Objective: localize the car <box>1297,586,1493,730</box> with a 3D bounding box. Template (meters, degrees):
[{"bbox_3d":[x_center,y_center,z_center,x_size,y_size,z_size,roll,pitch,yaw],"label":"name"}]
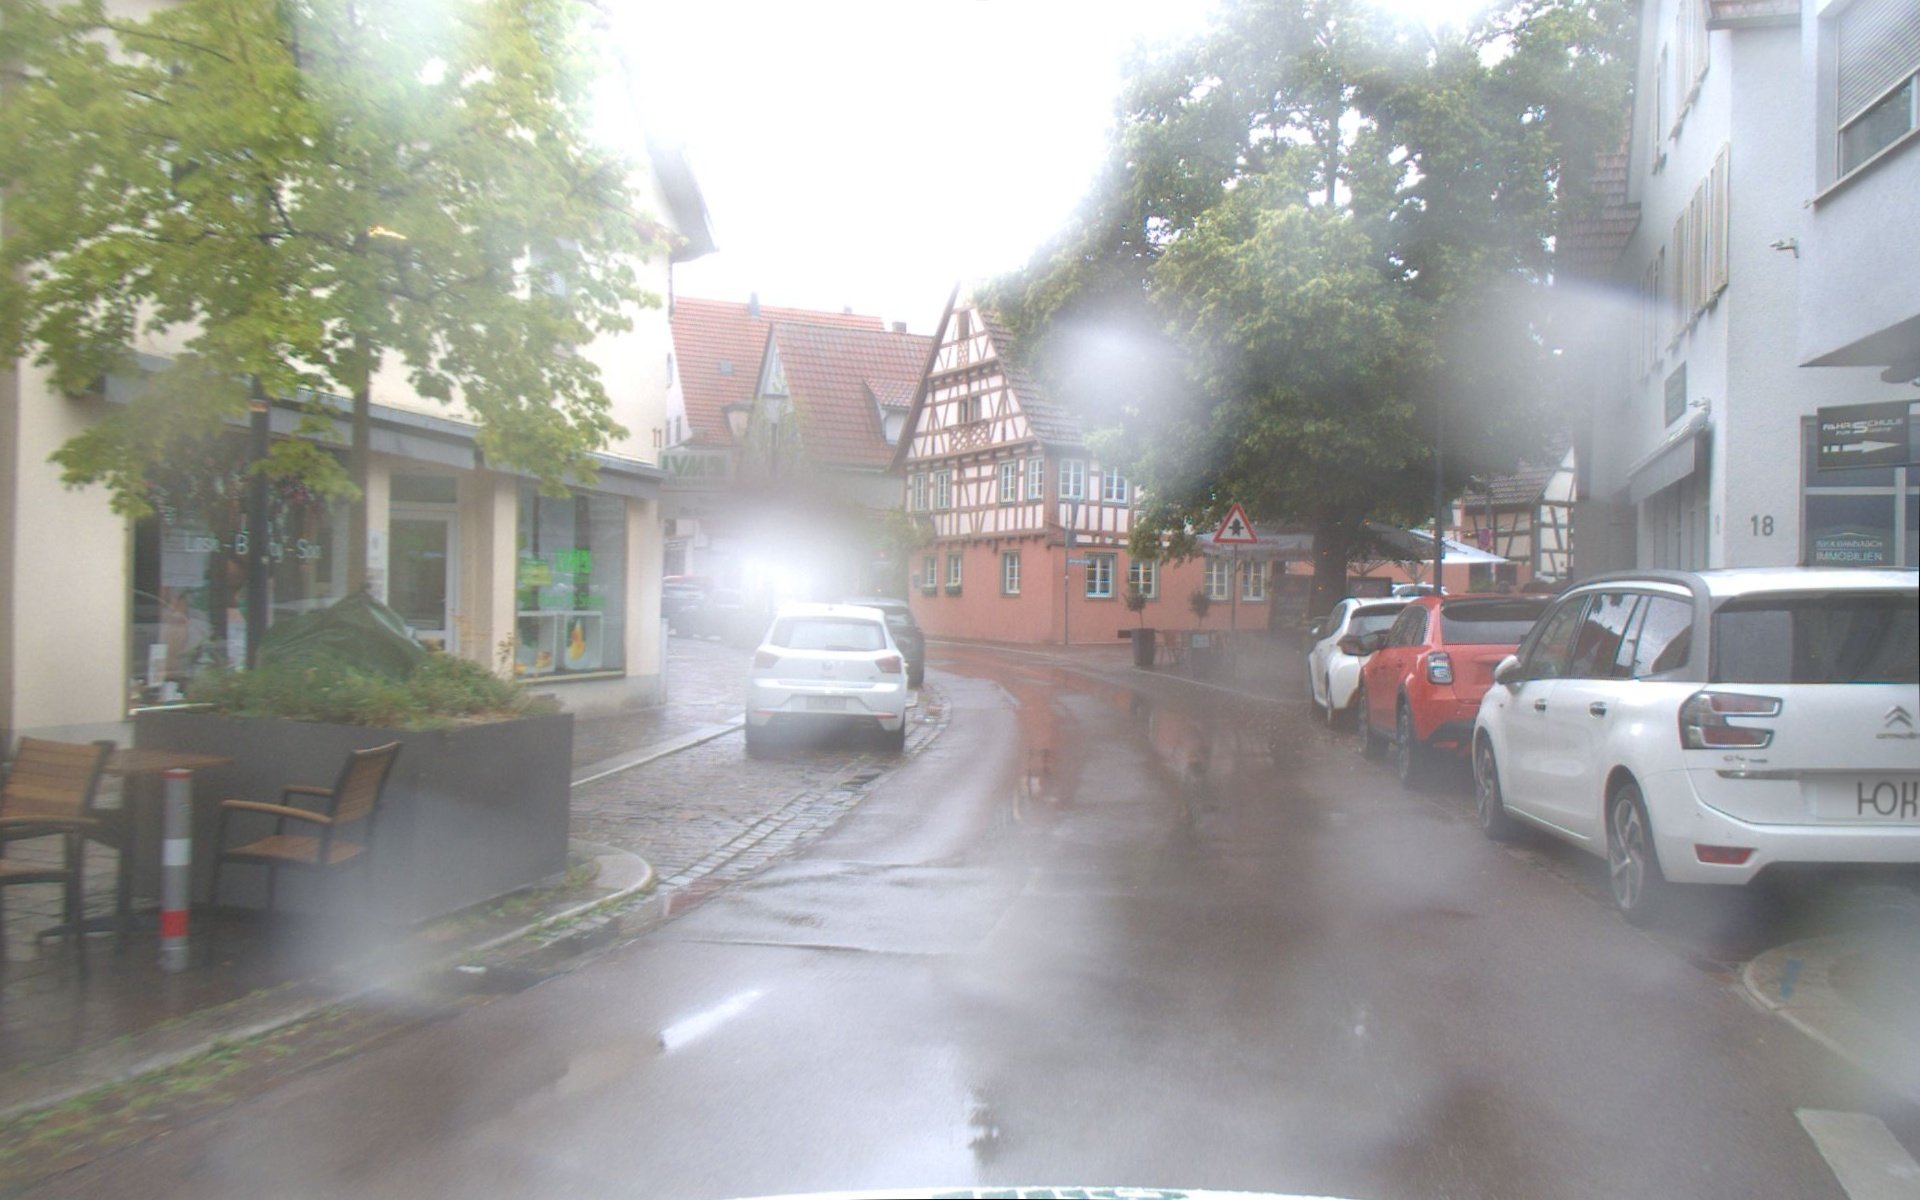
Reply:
[{"bbox_3d":[5.213,0.647,20.278,1.749,1.583,3.952,0,0,6],"label":"car"}]

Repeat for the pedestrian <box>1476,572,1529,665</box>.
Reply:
[{"bbox_3d":[10.352,0.360,31.521,0.891,1.728,0.861,-1,-2,21],"label":"pedestrian"}]

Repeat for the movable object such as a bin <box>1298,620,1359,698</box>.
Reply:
[{"bbox_3d":[5.319,0.852,23.920,0.711,1.102,0.604,1,-2,-3],"label":"movable object such as a bin"}]

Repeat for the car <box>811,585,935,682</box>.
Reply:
[{"bbox_3d":[-1.639,0.589,29.692,1.840,1.567,4.392,2,-1,-8],"label":"car"}]

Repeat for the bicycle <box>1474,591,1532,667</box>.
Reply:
[{"bbox_3d":[10.326,0.545,31.389,0.906,1.374,2.216,-1,-1,21],"label":"bicycle"}]

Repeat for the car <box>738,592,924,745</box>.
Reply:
[{"bbox_3d":[-1.376,0.673,18.482,1.812,1.477,4.070,1,0,-3],"label":"car"}]

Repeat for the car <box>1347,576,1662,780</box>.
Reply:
[{"bbox_3d":[4.569,0.650,14.465,1.750,1.494,3.951,1,-2,5],"label":"car"}]

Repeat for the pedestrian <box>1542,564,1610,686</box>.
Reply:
[{"bbox_3d":[9.050,0.368,24.323,0.866,1.743,0.890,1,-2,18],"label":"pedestrian"}]

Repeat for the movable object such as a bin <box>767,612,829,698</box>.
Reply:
[{"bbox_3d":[-2.272,0.770,23.266,0.685,1.141,0.719,4,-2,4],"label":"movable object such as a bin"}]

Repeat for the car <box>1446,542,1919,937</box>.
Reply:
[{"bbox_3d":[4.073,0.574,9.033,1.750,1.627,4.442,0,0,3],"label":"car"}]

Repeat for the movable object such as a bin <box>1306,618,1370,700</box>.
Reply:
[{"bbox_3d":[5.307,0.830,23.241,0.711,1.112,0.610,1,-2,-3],"label":"movable object such as a bin"}]

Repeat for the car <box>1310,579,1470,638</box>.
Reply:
[{"bbox_3d":[13.020,0.231,50.044,4.548,1.661,1.982,0,2,-28],"label":"car"}]

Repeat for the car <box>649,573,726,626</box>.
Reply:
[{"bbox_3d":[-10.291,-0.042,62.244,1.869,1.843,3.971,3,0,-24],"label":"car"}]
